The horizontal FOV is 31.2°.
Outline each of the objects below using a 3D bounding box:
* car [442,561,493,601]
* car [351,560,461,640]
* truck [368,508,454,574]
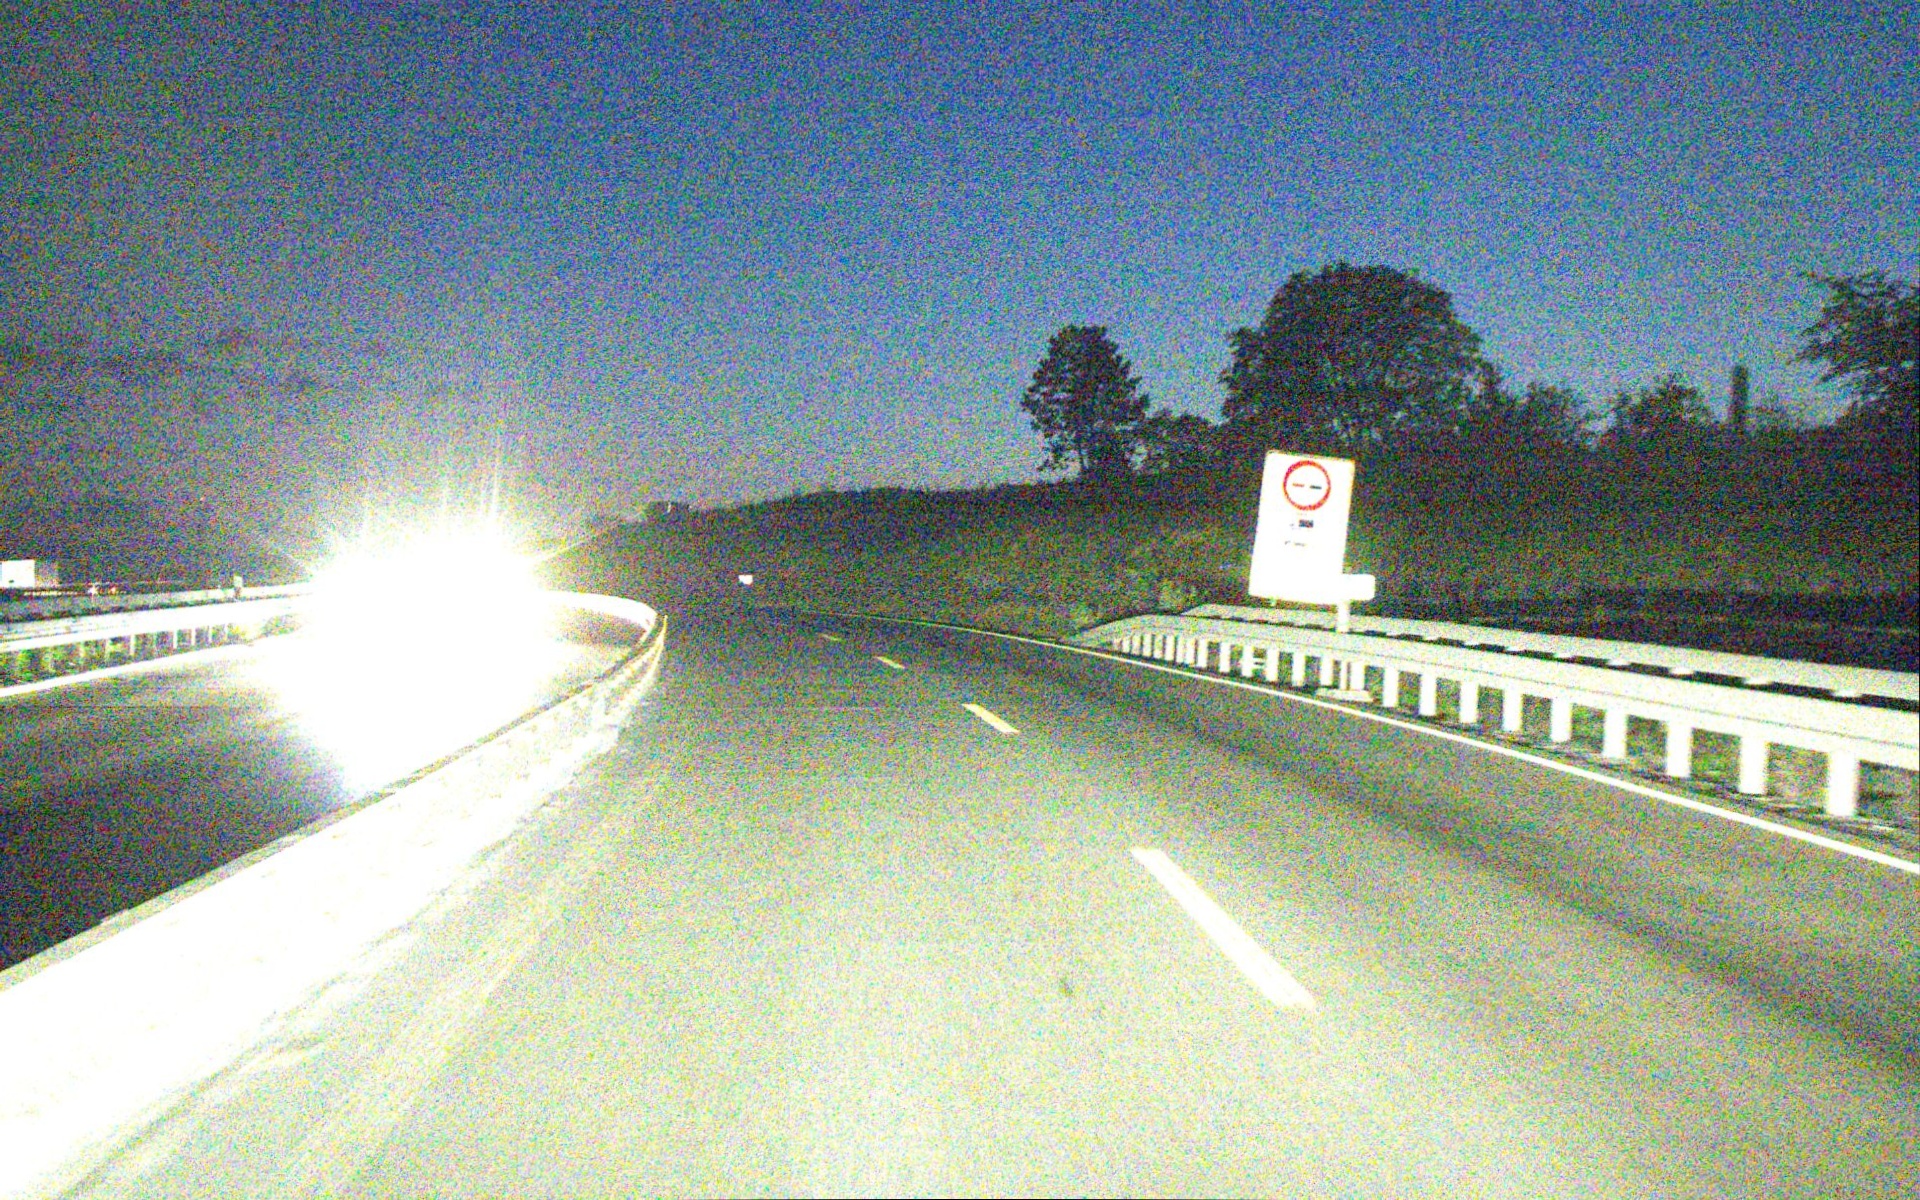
[{"bbox_3d":[-17.205,-0.656,120.120,1.716,1.375,4.244,0,0,-8],"label":"car"},{"bbox_3d":[-10.547,-0.004,65.719,1.712,1.438,4.488,-1,0,-5],"label":"car"},{"bbox_3d":[-40.975,-4.345,256.090,4.010,4.536,13.958,-1,0,-18],"label":"truck"}]
